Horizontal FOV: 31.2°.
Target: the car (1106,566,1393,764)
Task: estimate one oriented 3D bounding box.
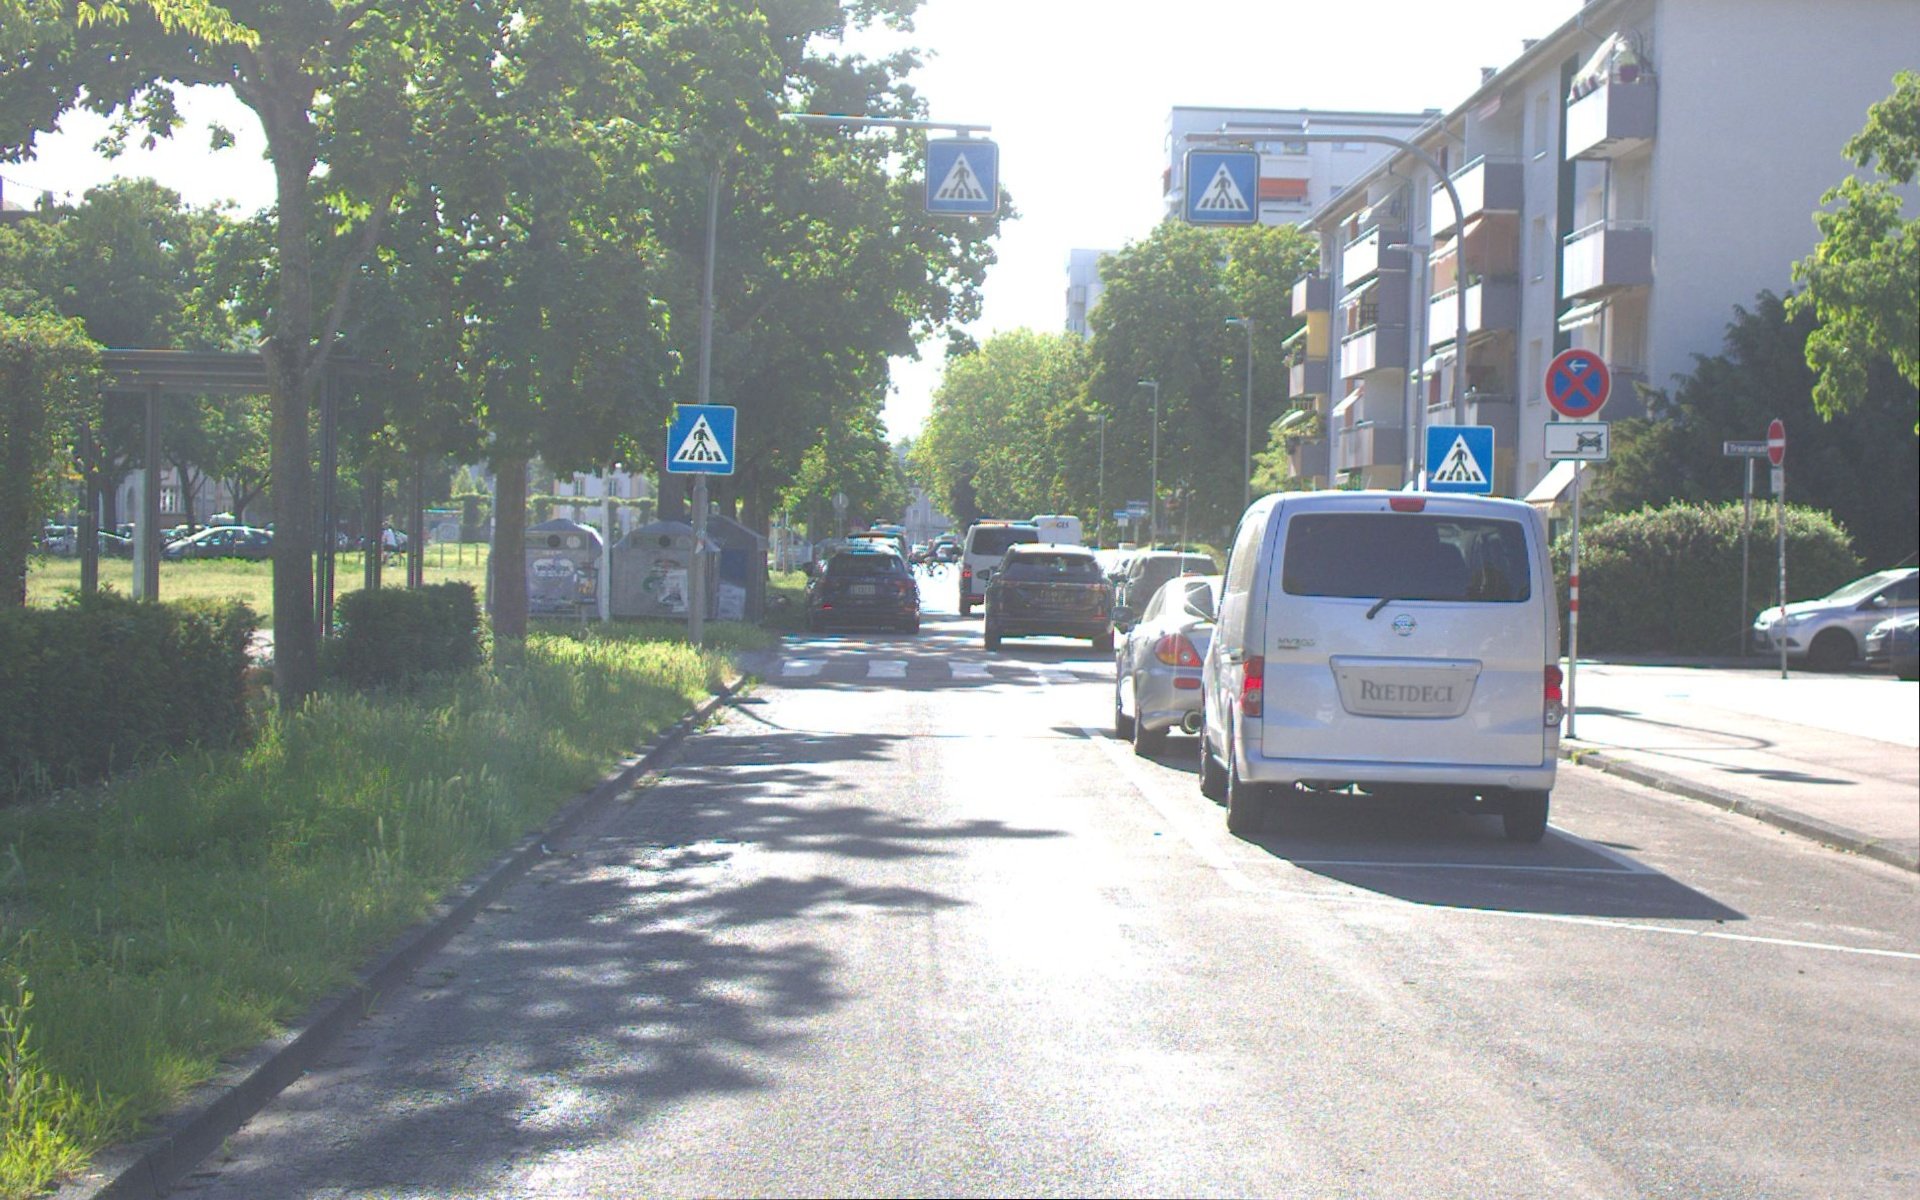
[{"bbox_3d":[2.123,0.442,26.225,1.764,1.314,4.168,3,0,0],"label":"car"}]

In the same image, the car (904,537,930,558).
[{"bbox_3d":[-3.121,-3.834,250.073,1.794,1.505,4.000,1,1,0],"label":"car"}]

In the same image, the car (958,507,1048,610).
[{"bbox_3d":[0.893,-0.915,74.103,1.794,2.115,4.000,2,1,0],"label":"car"}]

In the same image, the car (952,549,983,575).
[{"bbox_3d":[0.411,-2.247,204.982,1.794,1.505,4.000,1,1,0],"label":"car"}]

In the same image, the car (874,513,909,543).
[{"bbox_3d":[-3.608,-3.805,182.126,1.794,1.505,4.000,1,1,0],"label":"car"}]

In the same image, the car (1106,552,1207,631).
[{"bbox_3d":[4.028,-0.198,71.068,1.794,1.505,4.000,2,1,0],"label":"car"}]

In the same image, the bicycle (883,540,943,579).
[{"bbox_3d":[-1.874,-1.623,137.058,2.322,1.534,0.630,1,1,-5],"label":"bicycle"}]

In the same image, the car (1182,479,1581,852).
[{"bbox_3d":[2.292,0.286,19.753,1.794,1.848,4.413,2,1,1],"label":"car"}]

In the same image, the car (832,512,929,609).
[{"bbox_3d":[-1.690,-0.862,74.184,1.993,2.007,4.000,1,1,0],"label":"car"}]

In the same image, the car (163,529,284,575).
[{"bbox_3d":[-26.370,-1.728,123.100,3.986,1.505,1.800,2,1,-4],"label":"car"}]

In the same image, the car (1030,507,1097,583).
[{"bbox_3d":[3.542,-1.893,117.970,1.993,2.422,4.500,4,1,0],"label":"car"}]

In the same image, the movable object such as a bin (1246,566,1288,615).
[{"bbox_3d":[9.755,-0.313,109.237,1.091,1.505,2.002,2,1,0],"label":"movable object such as a bin"}]

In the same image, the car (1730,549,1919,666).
[{"bbox_3d":[13.776,0.147,50.445,4.479,1.617,1.800,2,-1,-3],"label":"car"}]

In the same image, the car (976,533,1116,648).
[{"bbox_3d":[1.168,-0.163,48.399,1.794,1.505,4.000,2,1,0],"label":"car"}]

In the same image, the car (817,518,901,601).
[{"bbox_3d":[-2.511,-1.035,86.243,1.993,2.007,4.000,1,1,0],"label":"car"}]

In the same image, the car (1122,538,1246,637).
[{"bbox_3d":[3.838,-0.243,59.375,1.794,1.595,4.000,2,1,0],"label":"car"}]

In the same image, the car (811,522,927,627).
[{"bbox_3d":[-1.487,-0.450,57.312,1.794,1.619,4.000,2,1,0],"label":"car"}]
